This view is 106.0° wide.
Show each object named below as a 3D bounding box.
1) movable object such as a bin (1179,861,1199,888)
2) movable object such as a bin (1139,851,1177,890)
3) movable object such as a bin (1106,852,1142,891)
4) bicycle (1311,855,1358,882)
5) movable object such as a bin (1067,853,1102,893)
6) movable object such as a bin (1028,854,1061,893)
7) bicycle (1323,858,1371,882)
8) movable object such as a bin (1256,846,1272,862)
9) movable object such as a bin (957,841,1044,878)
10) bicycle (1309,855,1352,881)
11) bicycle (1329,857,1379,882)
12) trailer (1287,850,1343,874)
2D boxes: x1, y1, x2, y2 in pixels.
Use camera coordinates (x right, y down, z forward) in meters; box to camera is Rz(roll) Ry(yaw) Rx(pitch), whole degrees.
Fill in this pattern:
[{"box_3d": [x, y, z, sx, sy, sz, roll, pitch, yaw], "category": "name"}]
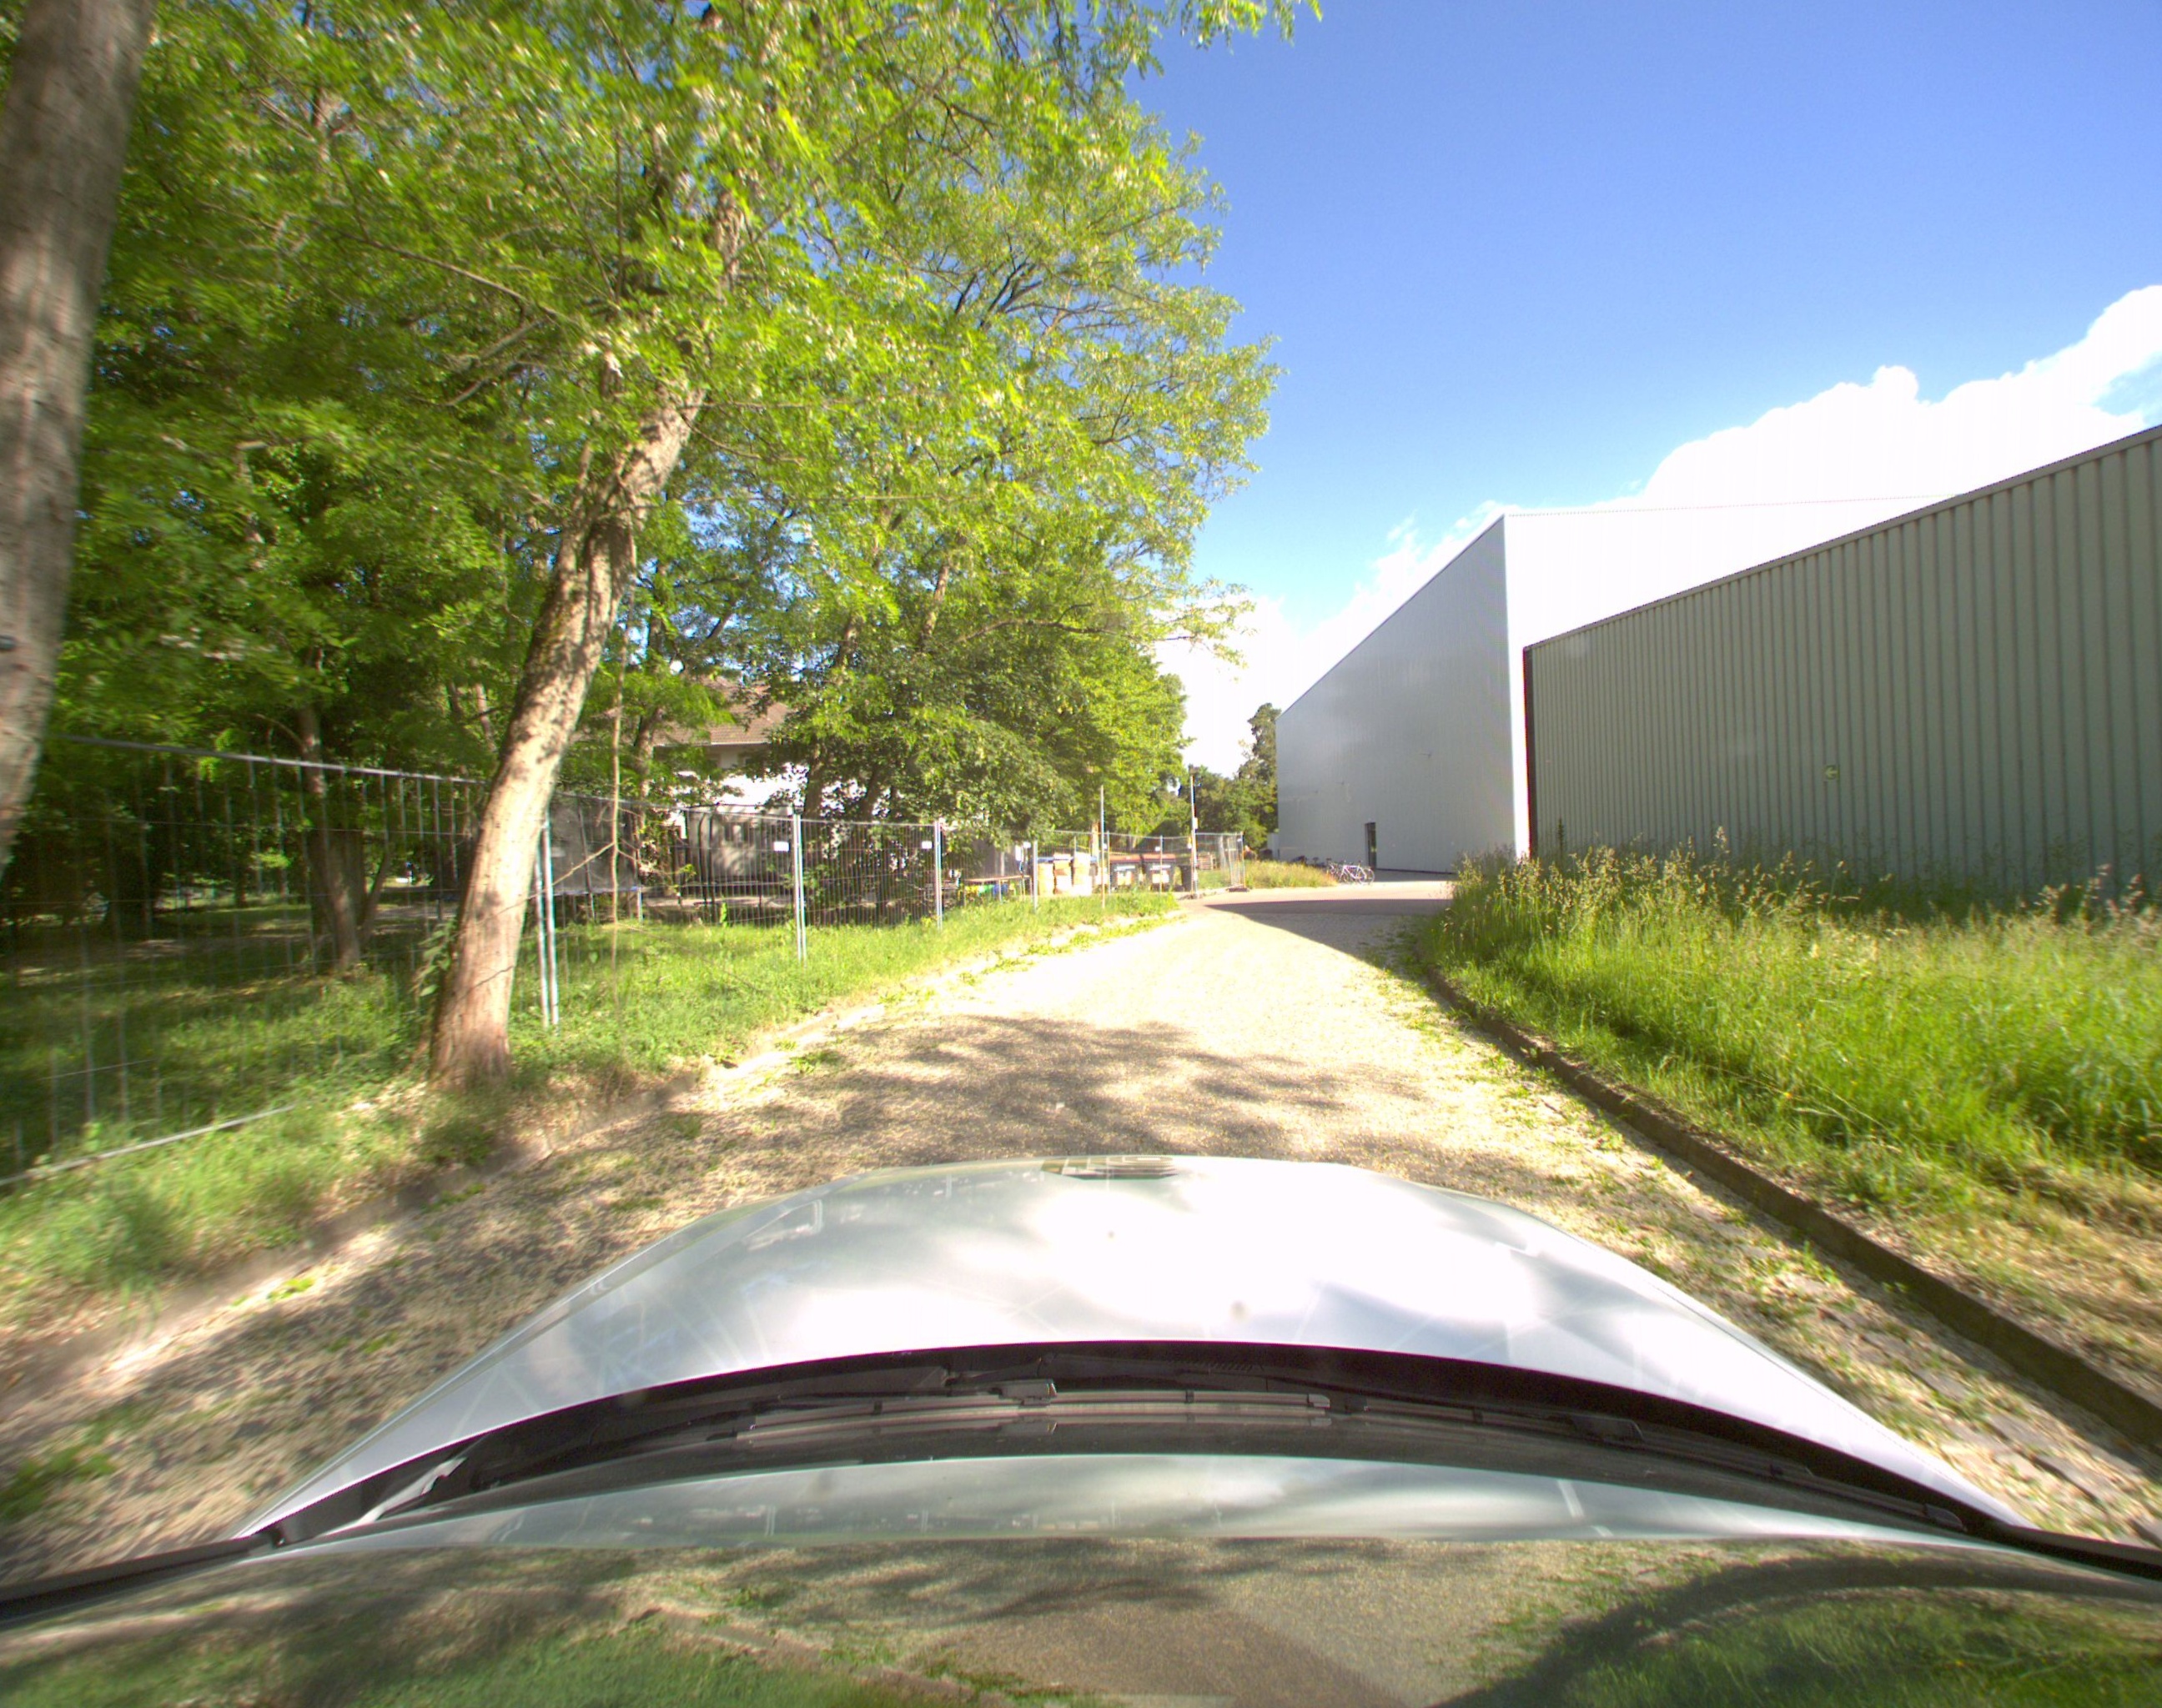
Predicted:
[{"box_3d": [4.108, 0.782, 30.901, 0.636, 1.007, 0.608, -2, -1, 18], "category": "movable object such as a bin"}, {"box_3d": [2.940, 0.634, 31.154, 1.284, 1.426, 1.032, -2, 0, -2], "category": "movable object such as a bin"}, {"box_3d": [1.630, 0.658, 31.131, 1.283, 1.426, 1.032, -2, 0, 0], "category": "movable object such as a bin"}, {"box_3d": [11.176, 0.636, 35.929, 1.876, 1.082, 0.433, -2, -1, 1], "category": "bicycle"}, {"box_3d": [0.145, 0.720, 31.180, 1.283, 1.426, 1.032, -2, 0, 0], "category": "movable object such as a bin"}, {"box_3d": [-1.398, 0.725, 31.278, 1.079, 1.438, 1.057, -2, 0, 4], "category": "movable object such as a bin"}, {"box_3d": [11.325, 0.682, 34.675, 1.876, 0.978, 0.433, -2, -1, 1], "category": "bicycle"}, {"box_3d": [20.207, 0.005, 89.869, 1.357, 1.656, 2.846, -2, 0, 5], "category": "movable object such as a bin"}, {"box_3d": [-4.680, 0.336, 48.073, 4.855, 1.970, 1.932, -2, 0, 0], "category": "movable object such as a bin"}, {"box_3d": [11.783, 0.651, 38.508, 1.876, 1.126, 0.433, -2, -1, 1], "category": "bicycle"}, {"box_3d": [11.211, 0.627, 33.464, 1.876, 0.978, 0.433, -2, -1, 1], "category": "bicycle"}, {"box_3d": [12.706, 0.445, 44.295, 2.700, 1.200, 1.246, -2, 0, 1], "category": "trailer"}]
